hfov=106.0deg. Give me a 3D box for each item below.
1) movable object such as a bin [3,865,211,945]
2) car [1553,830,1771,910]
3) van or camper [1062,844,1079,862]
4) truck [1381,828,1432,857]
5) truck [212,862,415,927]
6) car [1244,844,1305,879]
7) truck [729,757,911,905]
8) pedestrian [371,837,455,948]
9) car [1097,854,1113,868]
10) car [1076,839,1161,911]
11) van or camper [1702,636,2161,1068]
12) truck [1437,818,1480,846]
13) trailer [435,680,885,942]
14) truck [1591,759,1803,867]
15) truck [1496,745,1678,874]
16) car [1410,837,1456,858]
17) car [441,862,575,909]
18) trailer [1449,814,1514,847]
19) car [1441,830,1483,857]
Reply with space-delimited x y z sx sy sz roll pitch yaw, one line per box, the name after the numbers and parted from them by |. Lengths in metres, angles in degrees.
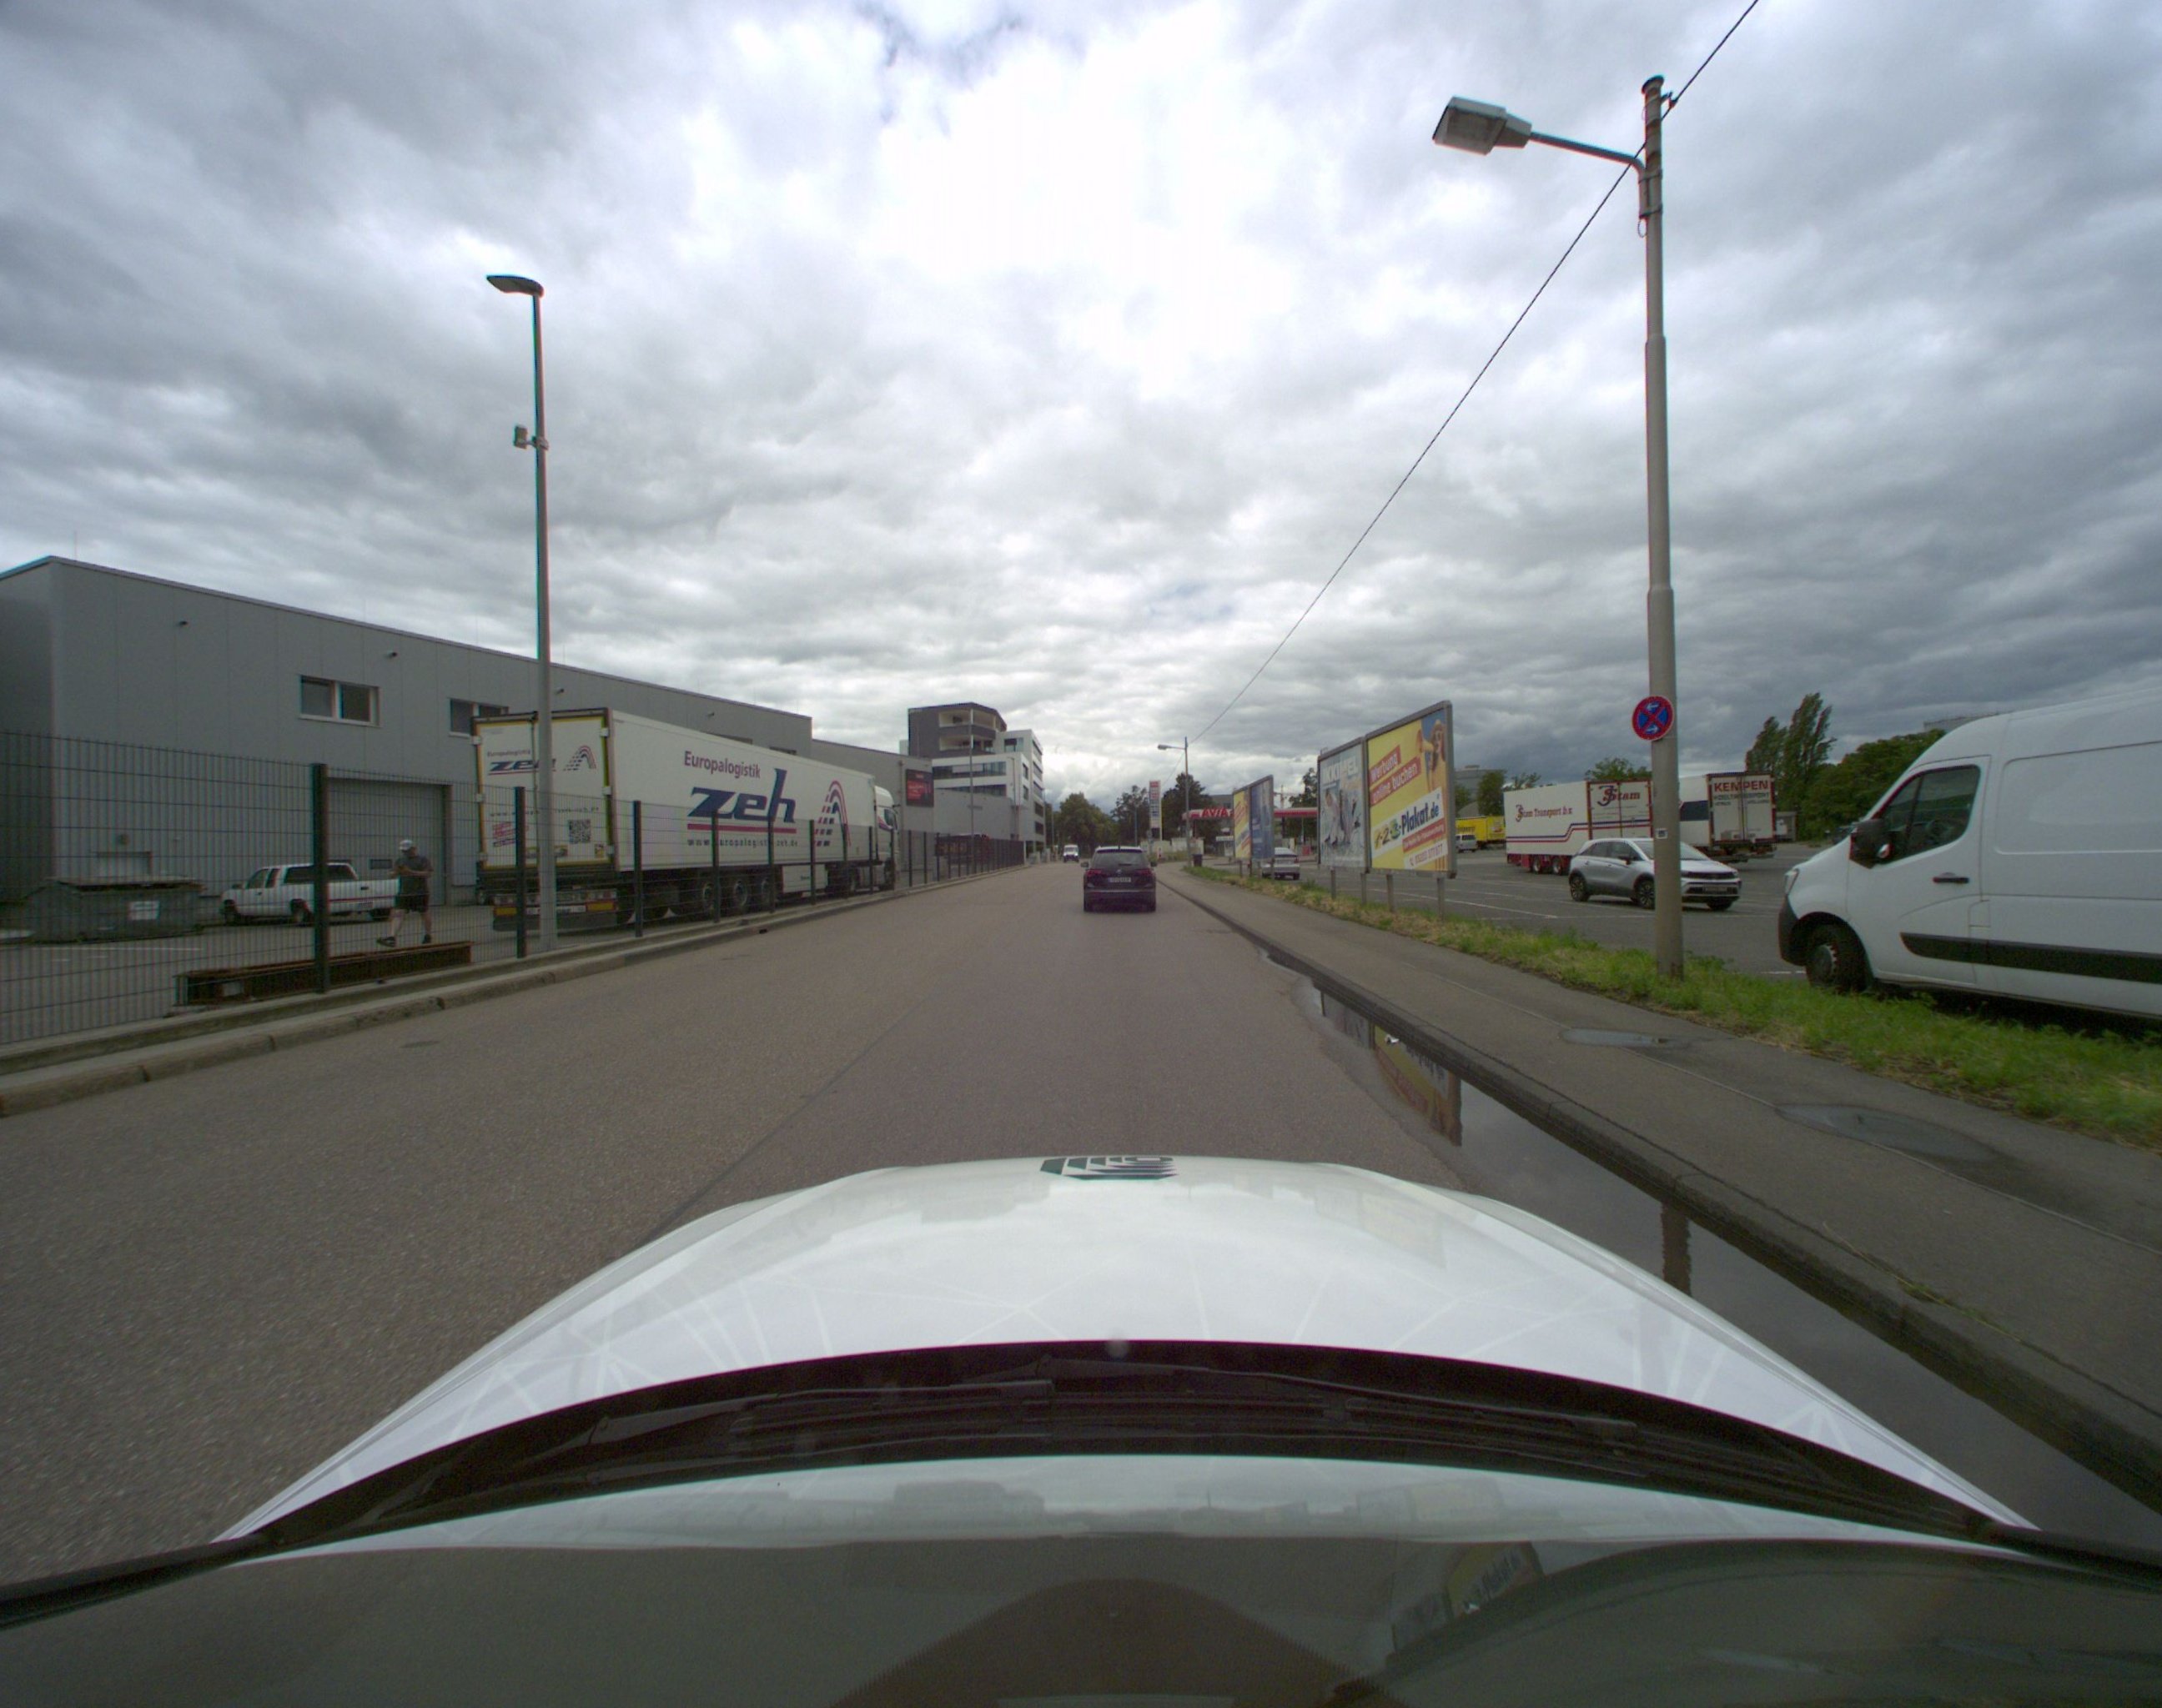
-23.810 1.203 19.934 3.952 1.736 2.168 -2 0 23 | movable object such as a bin
13.235 0.334 18.970 1.883 1.612 4.427 -1 0 0 | car
-1.358 -0.159 108.961 1.986 2.256 4.001 -1 0 2 | van or camper
37.454 -1.374 94.138 3.162 3.145 7.514 -1 1 3 | truck
-21.619 1.115 22.953 4.871 1.652 2.239 -2 0 21 | truck
8.683 0.336 36.861 1.882 1.445 4.431 1 0 2 | car
-8.474 -0.657 27.631 3.114 4.116 6.950 -5 -1 5 | truck
-11.347 0.636 13.861 0.694 1.829 0.825 -1 0 6 | pedestrian
3.121 0.865 105.196 1.986 1.684 4.372 -1 1 1 | car
0.967 0.510 21.562 1.986 1.684 4.373 -1 0 2 | car
7.783 -0.032 5.783 2.246 2.647 6.118 -1 0 3 | van or camper
48.182 -2.784 104.164 3.021 3.462 5.508 -1 1 2 | truck
-8.997 -0.710 21.099 3.119 4.261 14.036 -5 -1 4 | trailer
26.664 -1.602 35.982 3.293 4.145 8.523 -1 0 4 | truck
22.566 -1.805 37.095 3.293 5.093 8.522 -1 0 4 | truck
29.217 -0.507 67.776 1.987 1.706 4.187 -1 0 0 | car
-20.453 1.133 29.102 3.953 1.552 2.010 -2 0 21 | car
48.040 -2.751 98.154 3.021 3.627 10.142 -1 1 1 | trailer
39.910 -1.061 85.476 2.082 2.647 5.374 -1 0 3 | car
